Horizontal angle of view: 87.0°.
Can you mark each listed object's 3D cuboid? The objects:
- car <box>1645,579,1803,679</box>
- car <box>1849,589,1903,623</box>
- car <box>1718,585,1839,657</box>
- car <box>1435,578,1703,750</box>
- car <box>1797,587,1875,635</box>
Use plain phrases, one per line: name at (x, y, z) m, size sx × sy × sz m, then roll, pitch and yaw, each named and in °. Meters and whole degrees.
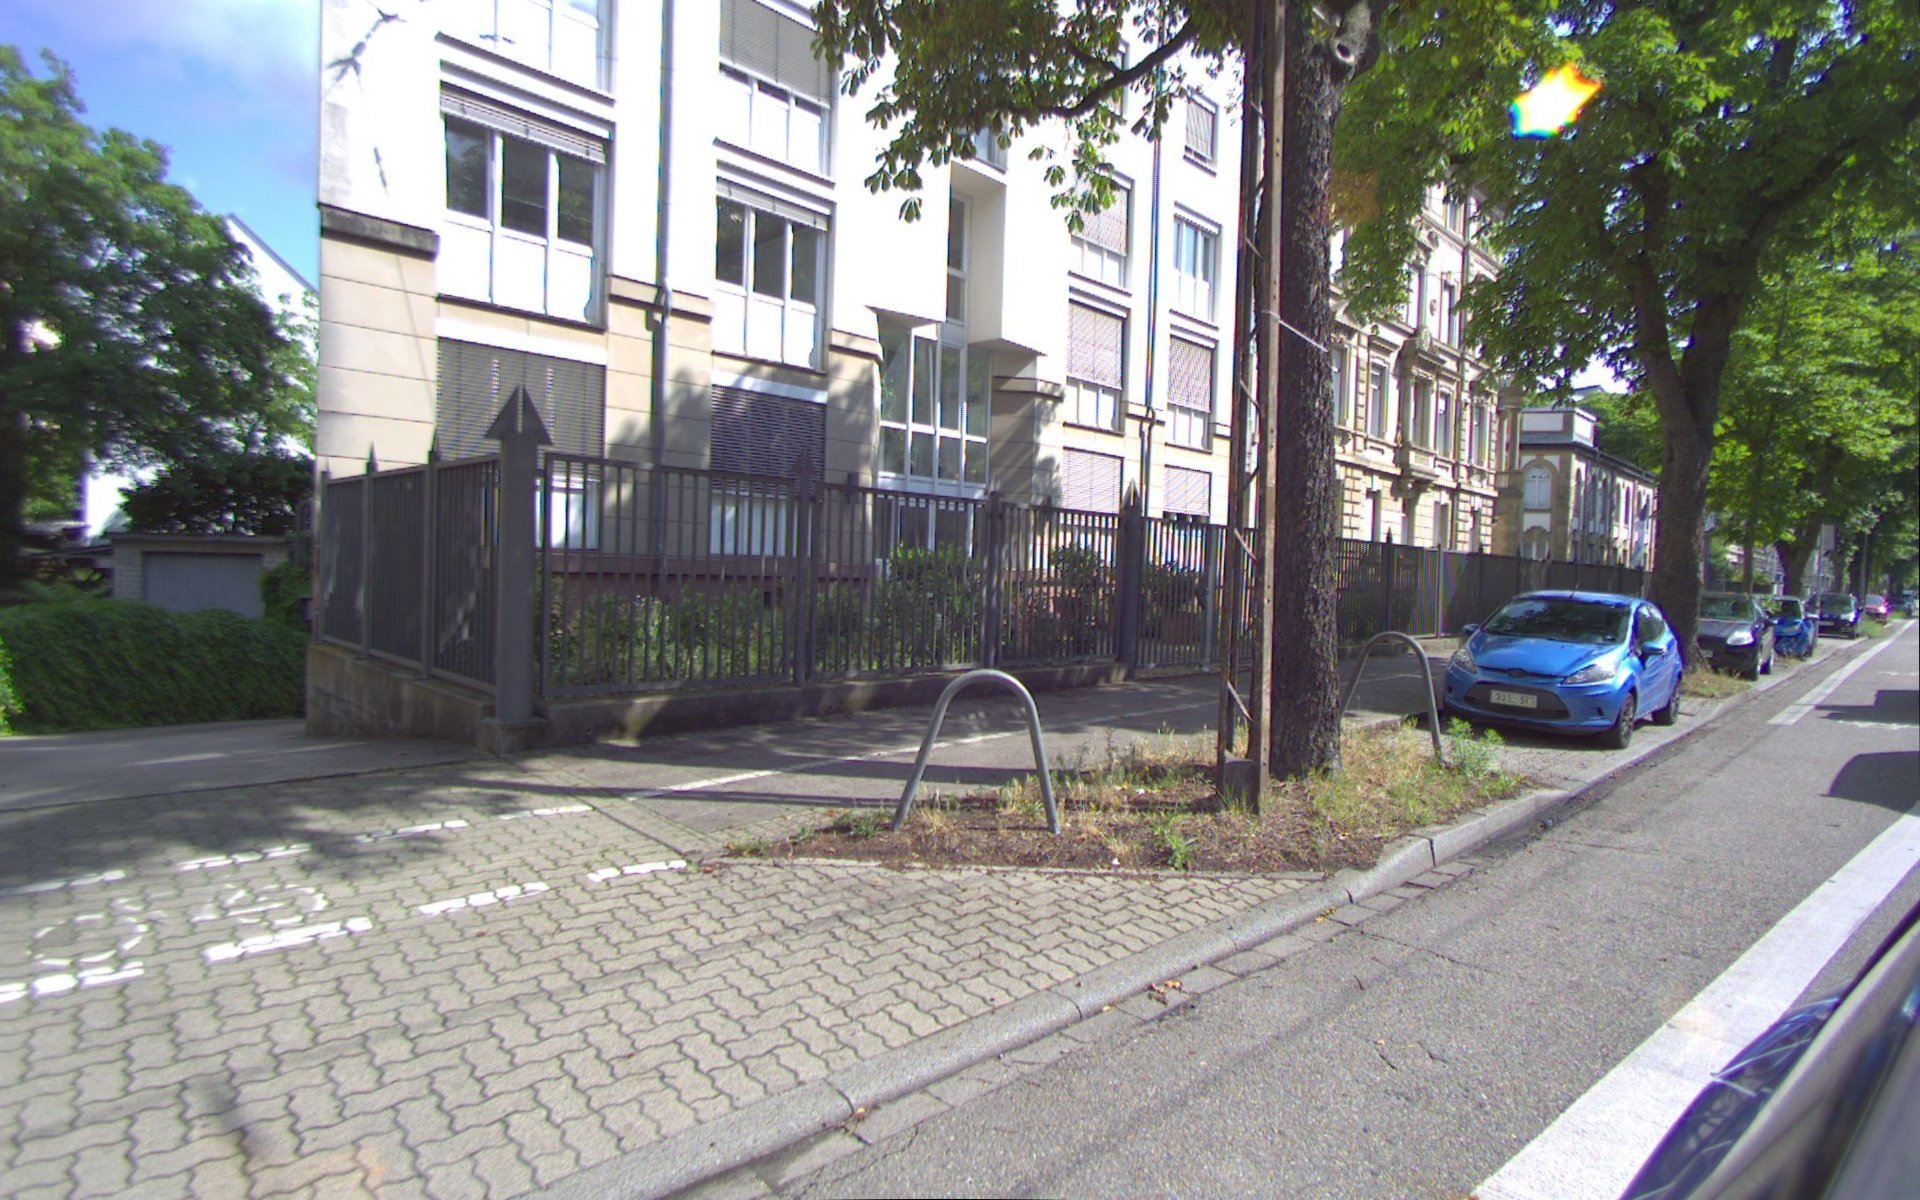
car at (13.860, 0.458, 18.294) m, size 3.562 × 1.526 × 1.643 m, roll 0°, pitch 5°, yaw -44°
car at (48.293, 0.309, 53.319) m, size 4.131 × 1.591 × 1.772 m, roll 0°, pitch 5°, yaw -44°
car at (19.454, 0.440, 24.014) m, size 3.861 × 1.469 × 1.722 m, roll 0°, pitch 5°, yaw -44°
car at (6.750, 0.560, 11.061) m, size 1.639 × 1.472 × 3.639 m, roll 6°, pitch 4°, yaw 44°
car at (32.401, 0.357, 37.390) m, size 4.131 × 1.549 × 1.772 m, roll 0°, pitch 5°, yaw -44°
